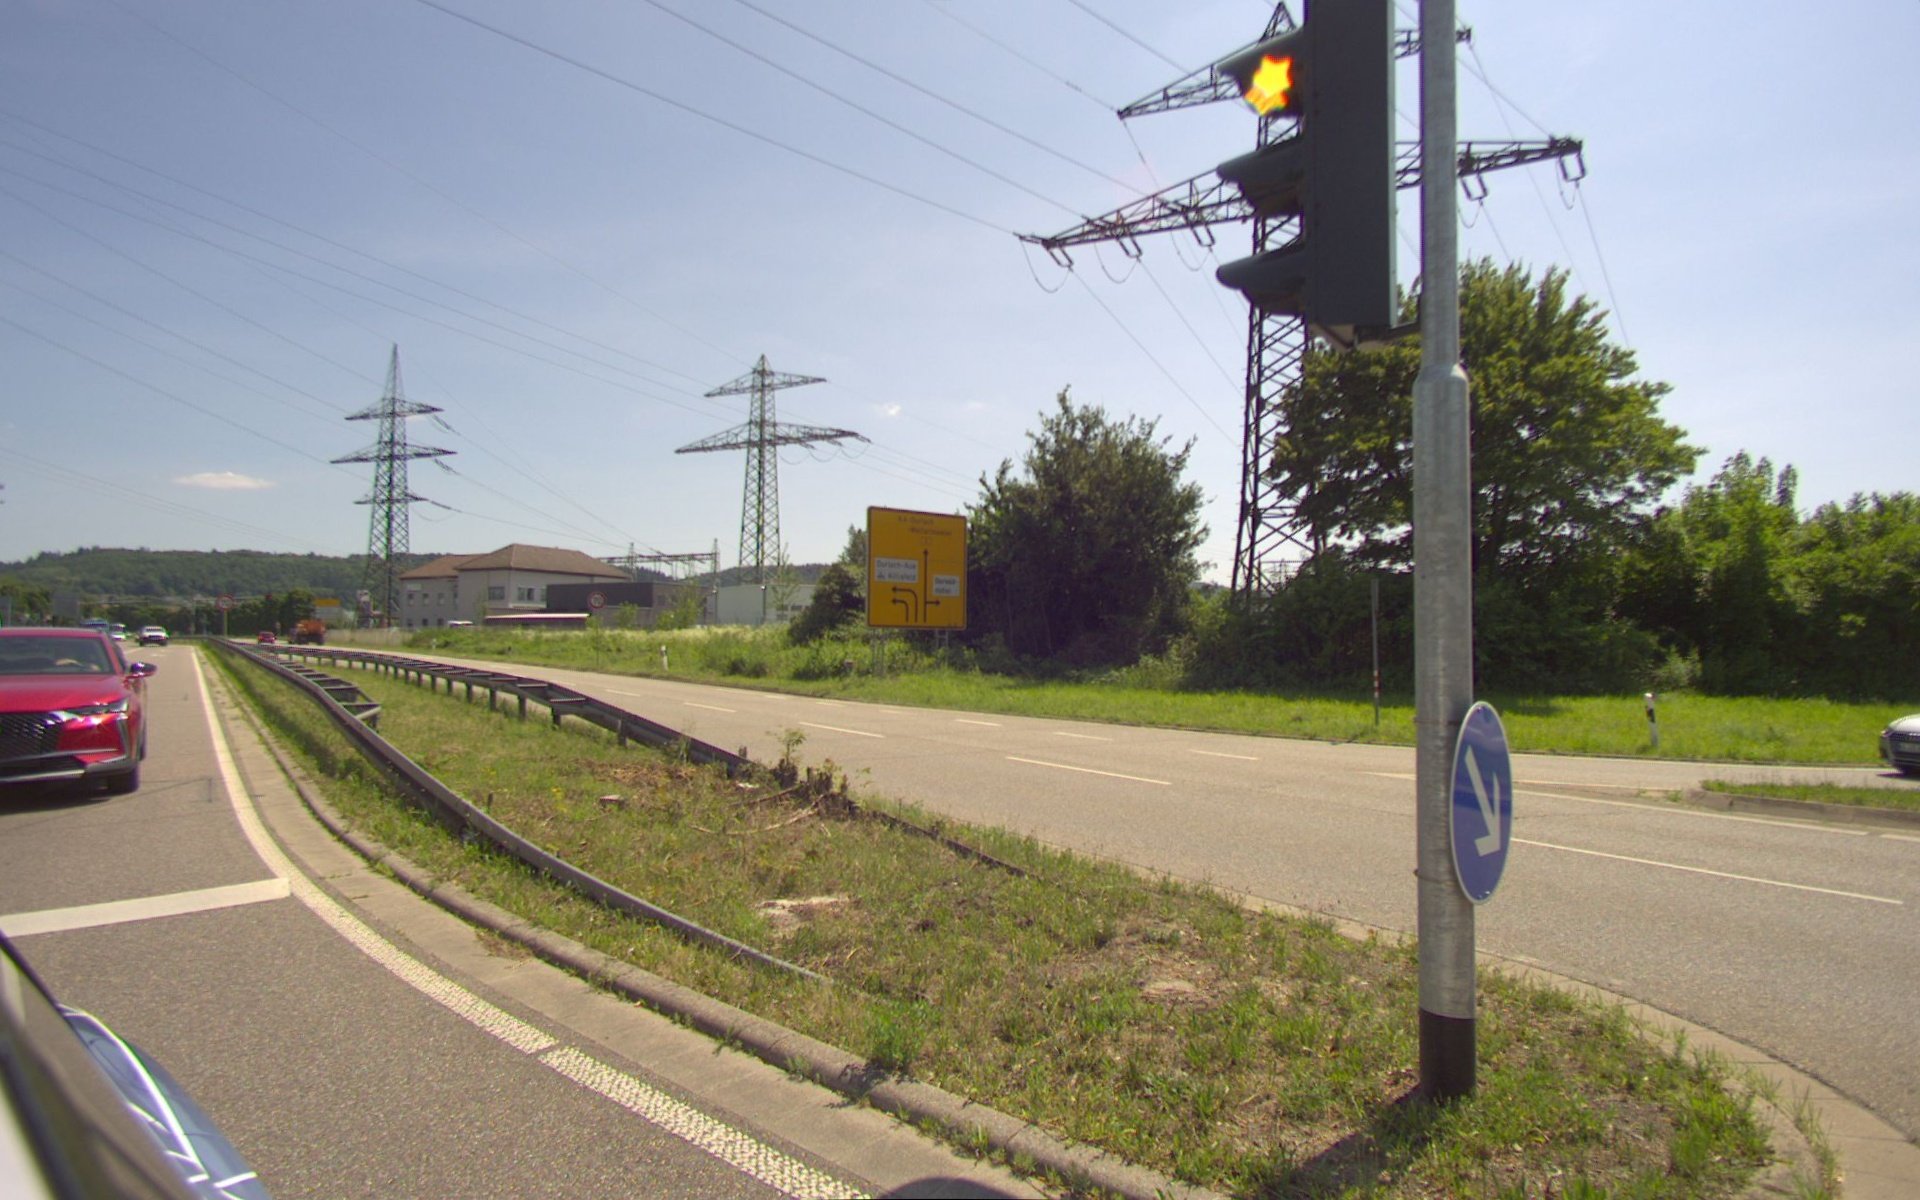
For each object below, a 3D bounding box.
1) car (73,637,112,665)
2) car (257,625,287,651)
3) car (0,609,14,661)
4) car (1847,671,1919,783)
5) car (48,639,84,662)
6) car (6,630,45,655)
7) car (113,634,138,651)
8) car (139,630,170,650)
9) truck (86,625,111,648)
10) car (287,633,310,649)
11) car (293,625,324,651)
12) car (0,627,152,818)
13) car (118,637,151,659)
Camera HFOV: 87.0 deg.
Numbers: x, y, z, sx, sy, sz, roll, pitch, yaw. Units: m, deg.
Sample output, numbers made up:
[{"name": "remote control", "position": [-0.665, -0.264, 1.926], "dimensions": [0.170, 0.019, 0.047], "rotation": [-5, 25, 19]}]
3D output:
[{"name": "car", "position": [-57.838, 3.364, 67.532], "dimensions": [1.850, 1.696, 4.007], "rotation": [0, -1, -40]}, {"name": "car", "position": [-84.747, 4.643, 124.560], "dimensions": [2.566, 3.084, 5.650], "rotation": [3, -3, -38]}, {"name": "car", "position": [-46.763, 1.663, 47.899], "dimensions": [2.272, 2.441, 5.826], "rotation": [0, -1, -37]}, {"name": "car", "position": [16.025, 1.821, 14.738], "dimensions": [4.592, 1.588, 2.052], "rotation": [0, -4, -7]}, {"name": "car", "position": [-77.207, 4.362, 87.448], "dimensions": [1.967, 1.832, 4.009], "rotation": [0, -1, -37]}, {"name": "car", "position": [-67.853, 3.055, 73.536], "dimensions": [1.850, 1.696, 4.007], "rotation": [0, -1, -40]}, {"name": "car", "position": [-104.881, 5.278, 127.175], "dimensions": [1.966, 2.029, 4.011], "rotation": [0, -1, -34]}, {"name": "car", "position": [-73.575, 3.690, 92.481], "dimensions": [1.967, 1.776, 4.009], "rotation": [3, -3, -36]}, {"name": "truck", "position": [-98.984, 4.151, 116.320], "dimensions": [2.137, 2.460, 4.919], "rotation": [0, -1, -40]}, {"name": "car", "position": [-85.617, 5.281, 130.918], "dimensions": [1.969, 1.929, 4.006], "rotation": [0, -1, -41]}, {"name": "car", "position": [-79.419, 4.668, 123.263], "dimensions": [2.566, 3.084, 5.650], "rotation": [3, -3, -38]}, {"name": "car", "position": [-8.900, 1.015, 9.584], "dimensions": [1.818, 1.473, 4.423], "rotation": [0, -2, -37]}, {"name": "car", "position": [-78.384, 4.506, 96.177], "dimensions": [1.966, 2.029, 4.011], "rotation": [2, -3, -33]}]
